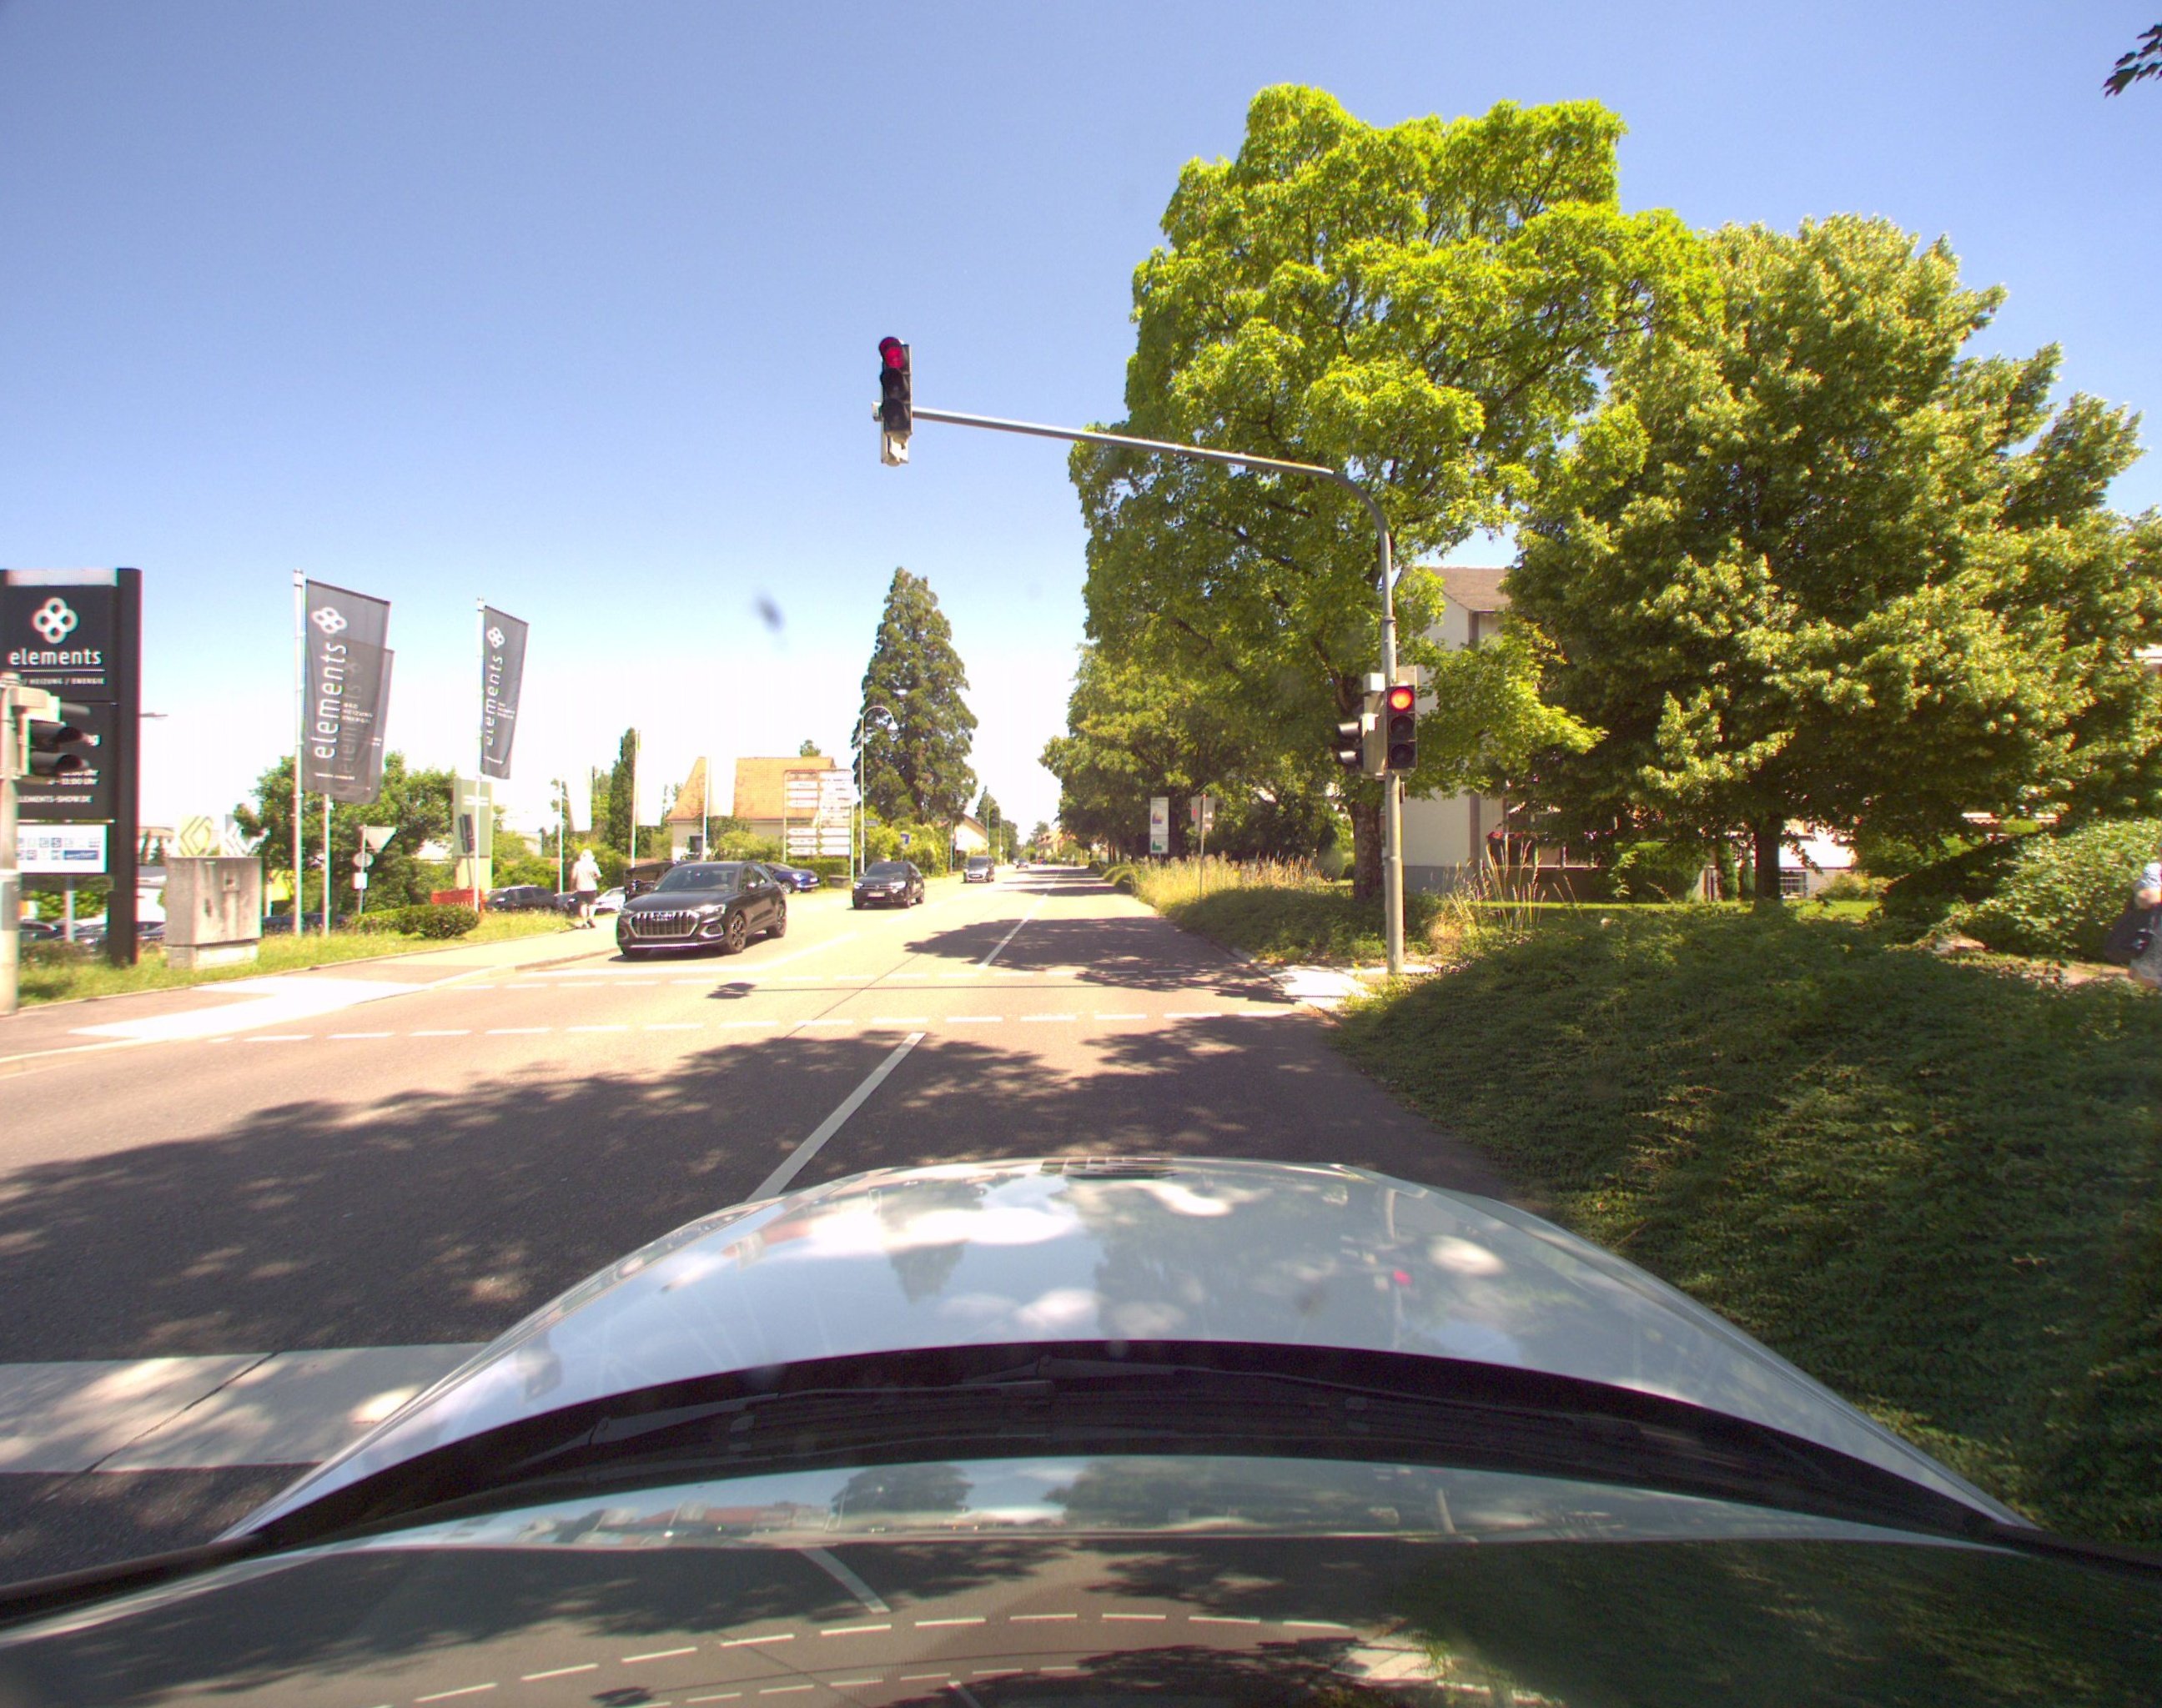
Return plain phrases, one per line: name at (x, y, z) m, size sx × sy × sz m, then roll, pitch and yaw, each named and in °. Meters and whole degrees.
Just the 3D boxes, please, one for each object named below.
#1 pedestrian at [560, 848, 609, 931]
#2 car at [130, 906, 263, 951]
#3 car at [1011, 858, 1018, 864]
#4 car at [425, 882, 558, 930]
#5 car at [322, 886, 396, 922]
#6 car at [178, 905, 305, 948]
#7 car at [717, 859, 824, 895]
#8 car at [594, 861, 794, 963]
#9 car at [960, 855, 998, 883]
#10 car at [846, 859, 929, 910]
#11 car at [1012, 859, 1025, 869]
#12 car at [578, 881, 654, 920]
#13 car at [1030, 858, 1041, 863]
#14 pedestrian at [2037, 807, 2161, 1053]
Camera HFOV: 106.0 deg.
pedestrian at (-10.815, 0.767, 17.743) m, size 0.538 × 1.761 × 0.706 m, roll -1°, pitch -1°, yaw 28°
car at (-36.751, 3.070, 34.006) m, size 1.754 × 1.486 × 3.983 m, roll -1°, pitch 0°, yaw -12°
car at (-18.360, 2.028, 225.053) m, size 1.675 × 1.684 × 4.000 m, roll -1°, pitch 0°, yaw 1°
car at (-23.843, 2.056, 33.129) m, size 1.795 × 1.722 × 4.106 m, roll -1°, pitch 0°, yaw 16°
car at (-39.775, 2.721, 44.975) m, size 1.816 × 1.722 × 4.059 m, roll 0°, pitch 0°, yaw -22°
car at (-34.502, 2.950, 33.618) m, size 1.647 × 1.415 × 3.855 m, roll -1°, pitch 0°, yaw -9°
car at (-13.928, 1.028, 36.624) m, size 4.109 × 1.504 × 1.782 m, roll -1°, pitch 0°, yaw 10°
car at (-6.875, 0.931, 15.058) m, size 1.923 × 1.555 × 4.295 m, roll -1°, pitch 0°, yaw -5°
car at (-6.813, 0.973, 54.801) m, size 1.804 × 1.762 × 4.571 m, roll 0°, pitch 0°, yaw 1°
car at (-6.281, 0.956, 26.836) m, size 1.864 × 1.507 × 4.049 m, roll -1°, pitch 0°, yaw -2°
car at (-9.781, 1.570, 127.706) m, size 1.788 × 1.536 × 4.313 m, roll -1°, pitch 0°, yaw -1°
car at (-23.396, 2.288, 41.173) m, size 1.806 × 1.722 × 4.081 m, roll 0°, pitch 0°, yaw -6°
car at (-11.469, 1.632, 205.627) m, size 1.948 × 1.359 × 4.438 m, roll -1°, pitch 0°, yaw -16°
pedestrian at (7.498, 0.503, 5.649) m, size 0.717 × 1.633 × 0.849 m, roll -1°, pitch -1°, yaw -7°
